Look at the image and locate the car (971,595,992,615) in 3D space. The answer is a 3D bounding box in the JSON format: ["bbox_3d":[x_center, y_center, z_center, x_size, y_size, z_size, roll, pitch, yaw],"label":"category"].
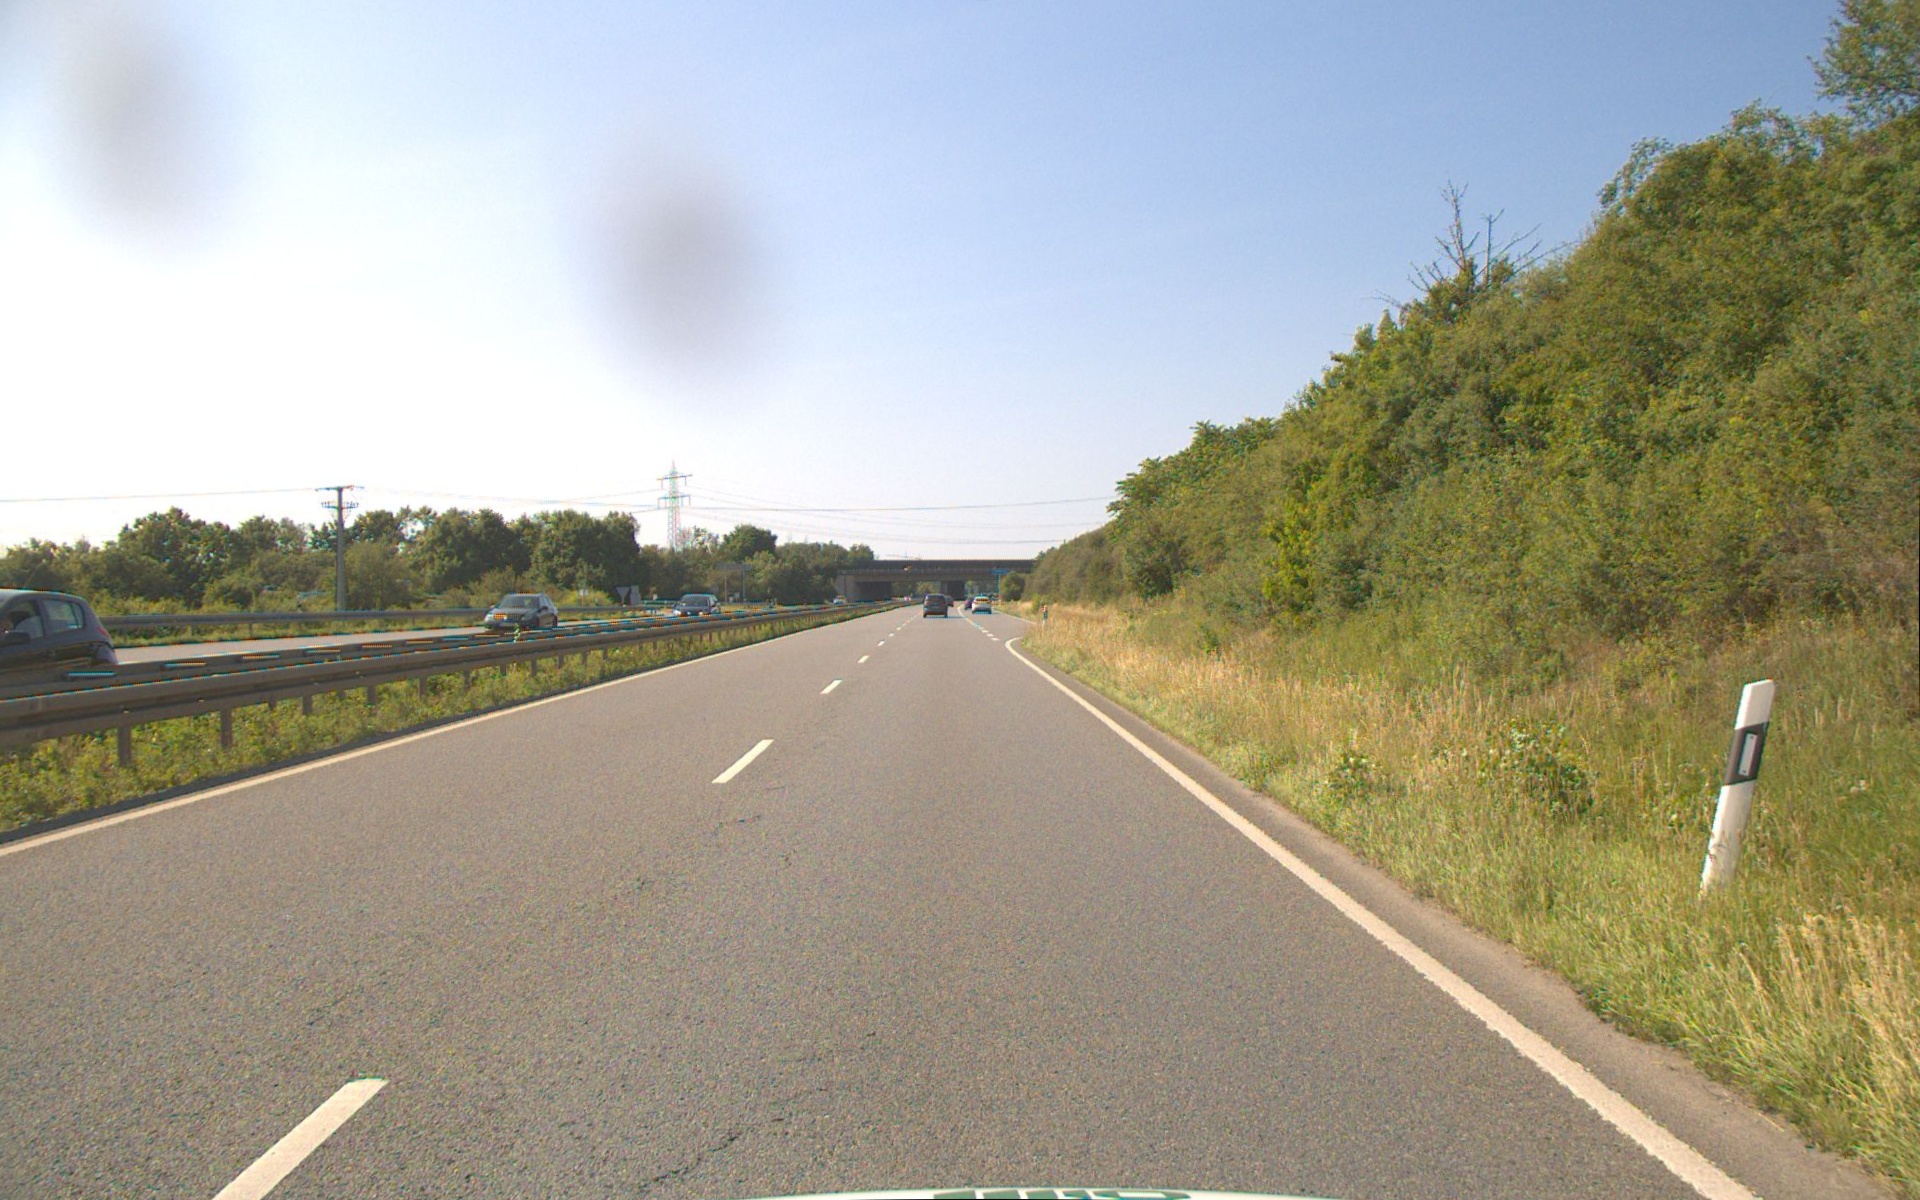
[{"bbox_3d":[1.939,0.443,146.512,1.759,1.694,4.001,2,1,1],"label":"car"}]

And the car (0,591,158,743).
[{"bbox_3d":[-10.524,0.668,17.773,1.678,1.496,4.415,2,0,-1],"label":"car"}]

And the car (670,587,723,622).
[{"bbox_3d":[-11.967,0.188,75.356,1.778,1.499,4.322,1,1,-1],"label":"car"}]

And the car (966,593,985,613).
[{"bbox_3d":[1.662,0.313,181.456,1.953,2.048,3.999,-2,0,-1],"label":"car"}]

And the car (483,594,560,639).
[{"bbox_3d":[-15.256,0.535,57.689,1.678,1.475,4.321,0,0,-2],"label":"car"}]

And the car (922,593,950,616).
[{"bbox_3d":[-1.703,0.315,118.267,1.811,1.673,4.001,0,0,2],"label":"car"}]

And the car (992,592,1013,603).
[{"bbox_3d":[5.417,-0.283,212.132,1.861,1.320,4.003,2,1,13],"label":"car"}]

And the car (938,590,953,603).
[{"bbox_3d":[-1.922,-0.457,223.576,1.811,1.673,4.001,0,0,2],"label":"car"}]
